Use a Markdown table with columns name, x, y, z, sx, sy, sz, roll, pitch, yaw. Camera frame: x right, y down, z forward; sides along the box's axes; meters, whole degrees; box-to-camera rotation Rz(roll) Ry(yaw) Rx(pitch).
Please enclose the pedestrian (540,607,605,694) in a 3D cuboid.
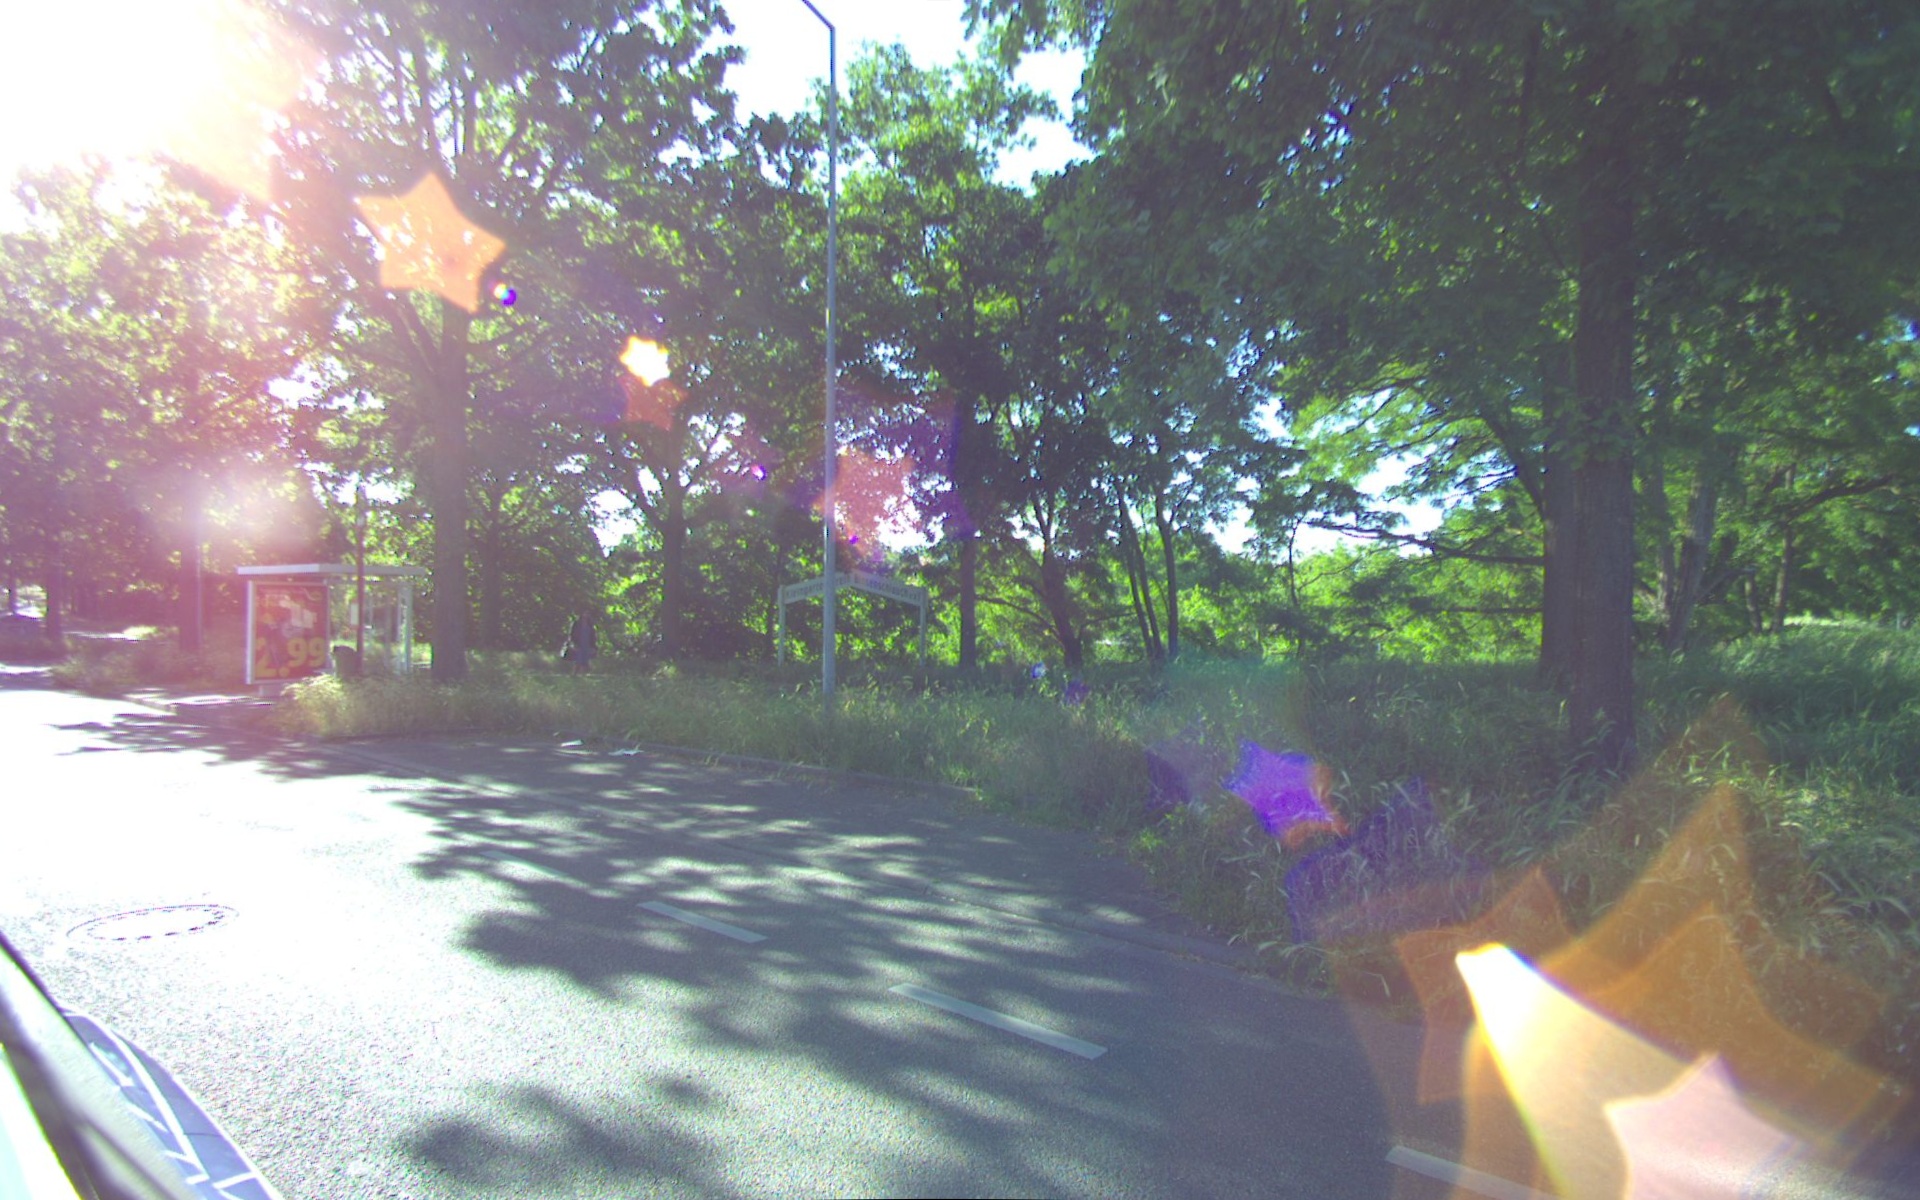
| name | x | y | z | sx | sy | sz | roll | pitch | yaw |
| --- | --- | --- | --- | --- | --- | --- | --- | --- | --- |
| pedestrian | -7.820 | 0.999 | 20.406 | 0.891 | 1.701 | 0.903 | -2 | -1 | 42 |
